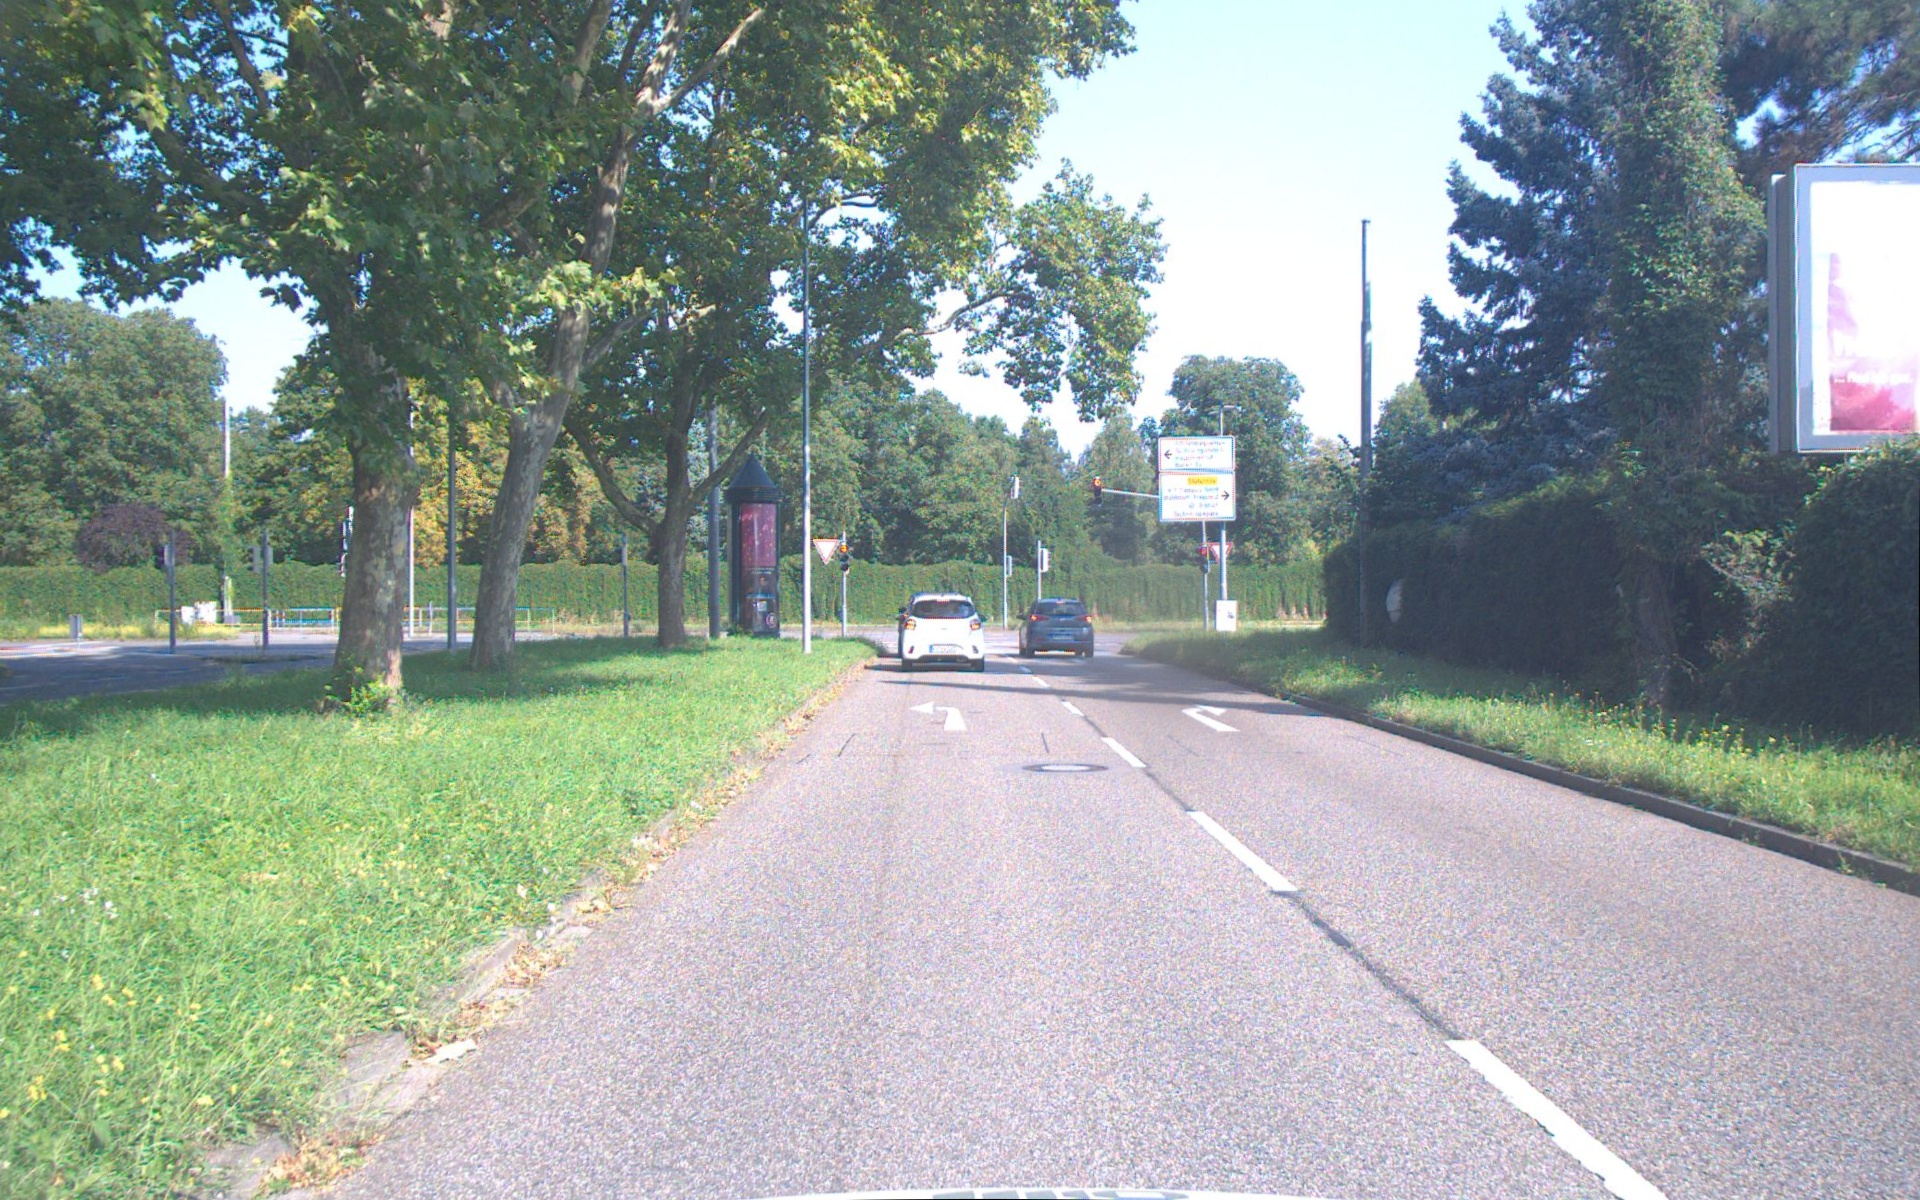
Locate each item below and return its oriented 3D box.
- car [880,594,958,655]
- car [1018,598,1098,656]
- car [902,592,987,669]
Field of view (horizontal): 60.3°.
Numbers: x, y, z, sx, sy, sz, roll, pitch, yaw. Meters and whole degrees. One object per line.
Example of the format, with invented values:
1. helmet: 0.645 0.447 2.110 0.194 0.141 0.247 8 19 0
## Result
1. car: -1.004 0.595 41.980 1.652 1.487 3.851 0 0 4
2. car: 2.472 0.653 42.643 1.761 1.426 3.999 0 0 -1
3. car: -0.284 0.596 34.141 1.653 1.487 4.000 0 0 0
